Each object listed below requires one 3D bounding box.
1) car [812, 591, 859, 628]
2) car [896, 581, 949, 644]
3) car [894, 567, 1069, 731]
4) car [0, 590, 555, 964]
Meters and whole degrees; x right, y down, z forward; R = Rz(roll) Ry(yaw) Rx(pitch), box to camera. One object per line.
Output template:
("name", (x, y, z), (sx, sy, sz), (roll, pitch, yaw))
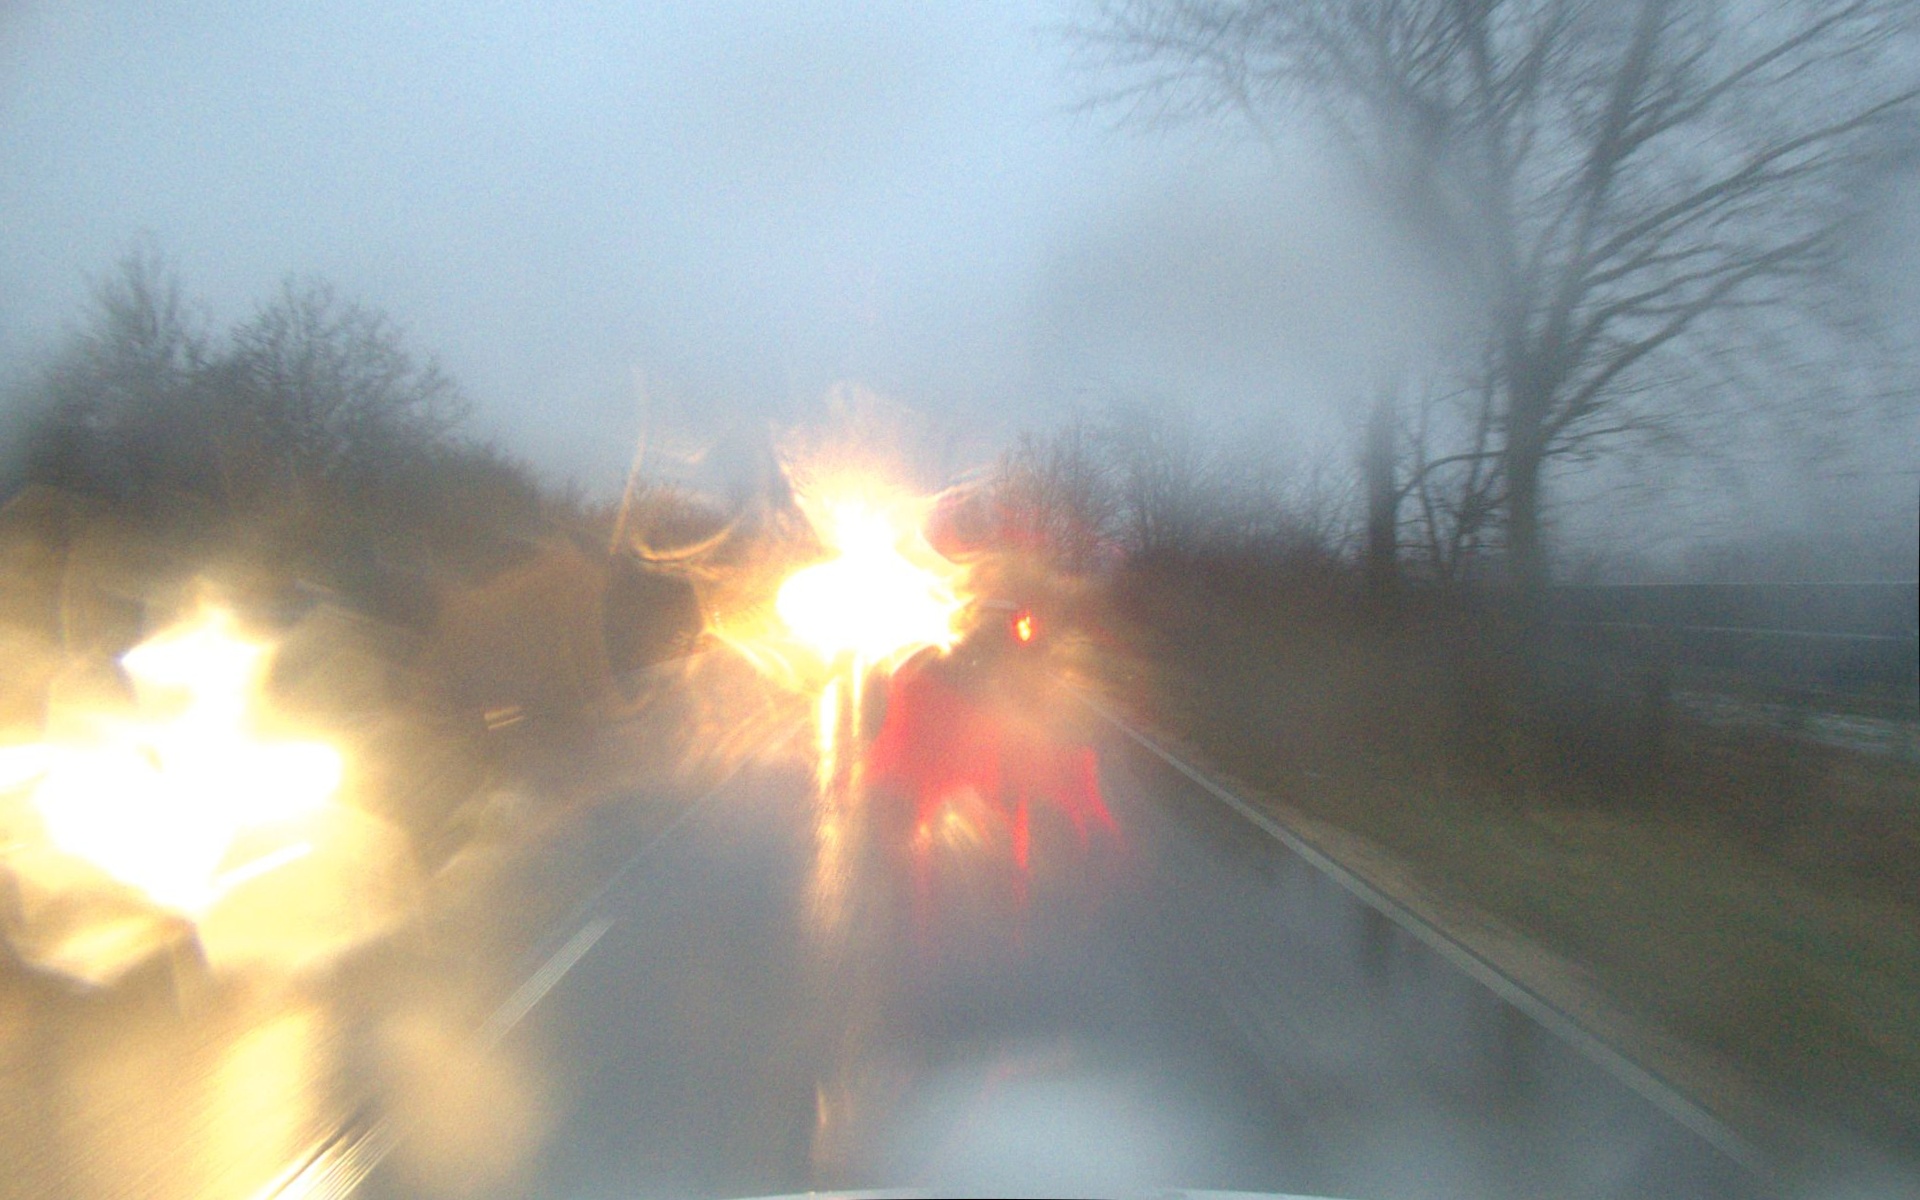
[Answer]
("car", (-5.206, 0.397, 69.462), (1.715, 1.500, 3.890), (1, 0, -1))
("car", (-1.157, 0.377, 52.700), (1.542, 1.907, 3.709), (1, 0, 0))
("car", (0.255, 0.554, 20.764), (1.952, 1.816, 4.000), (1, 0, 0))
("car", (-3.374, 0.704, 8.357), (1.780, 1.466, 3.455), (1, 0, 0))
